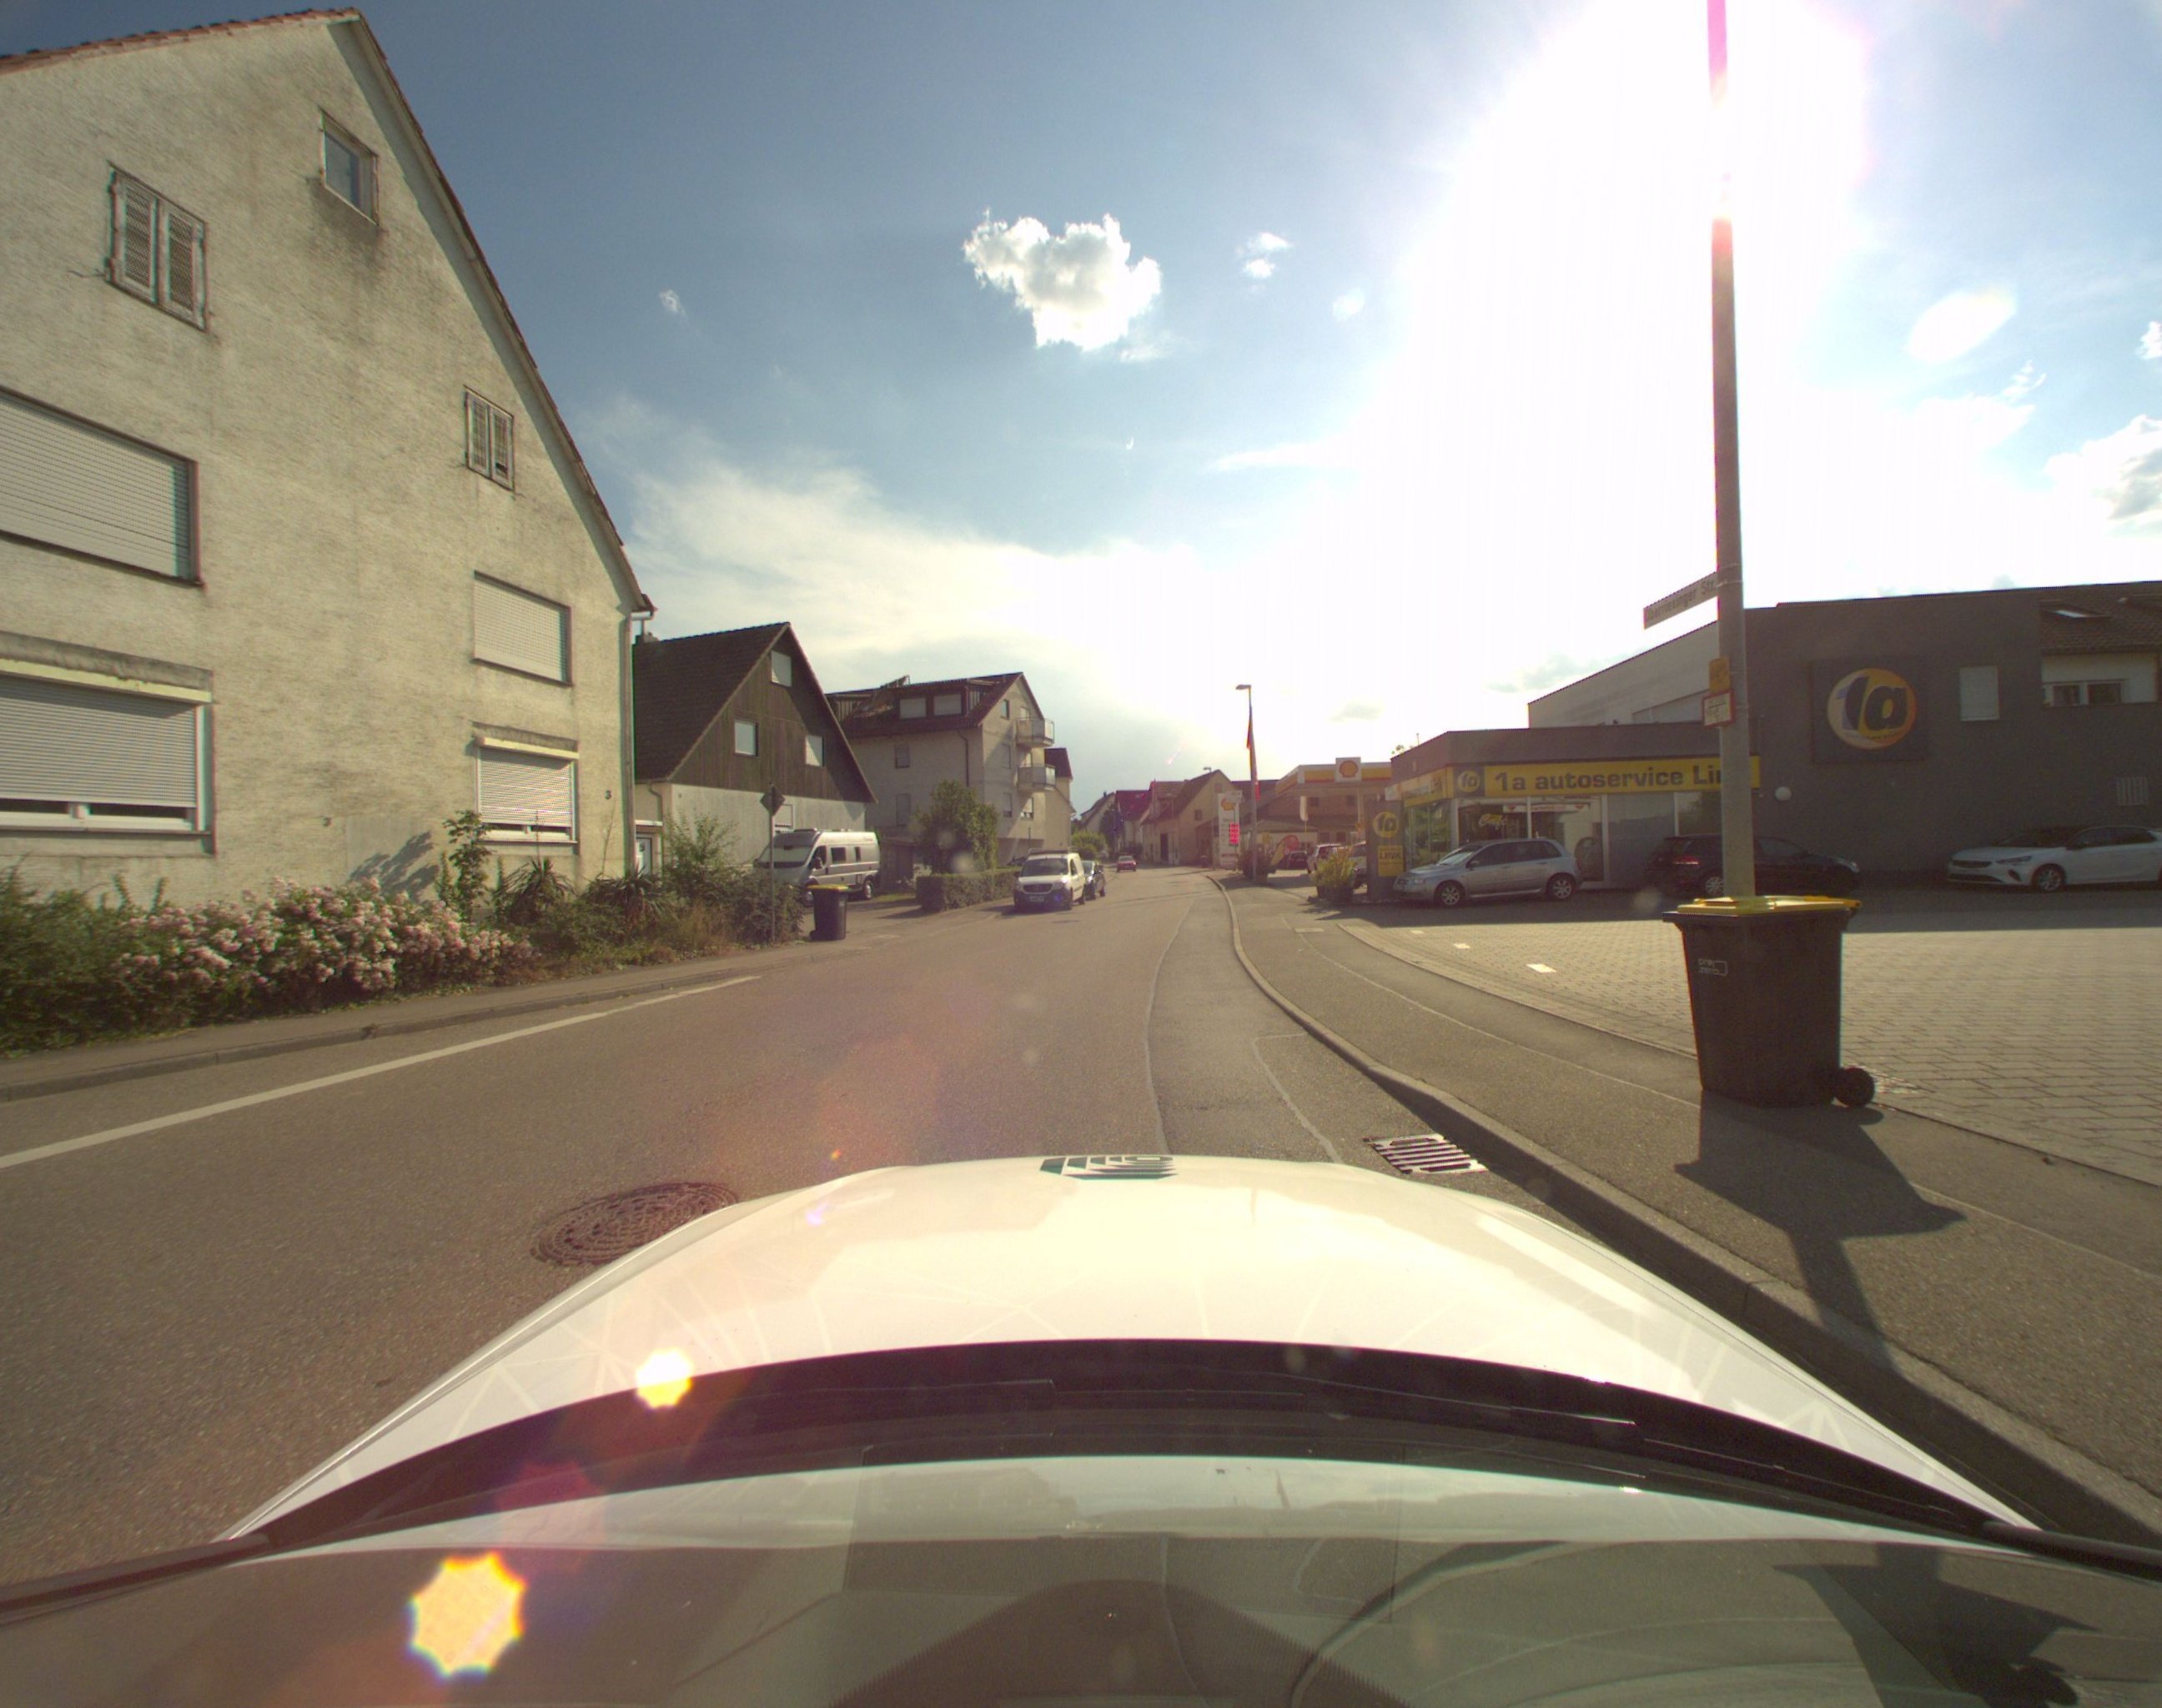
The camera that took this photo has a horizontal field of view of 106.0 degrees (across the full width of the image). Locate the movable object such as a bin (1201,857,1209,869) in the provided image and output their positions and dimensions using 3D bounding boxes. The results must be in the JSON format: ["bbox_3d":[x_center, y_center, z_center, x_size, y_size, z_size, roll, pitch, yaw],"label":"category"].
[{"bbox_3d":[11.479,0.816,75.591,0.650,1.073,0.513,-2,0,4],"label":"movable object such as a bin"}]

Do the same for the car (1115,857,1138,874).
[{"bbox_3d":[4.246,1.045,76.291,1.704,1.435,3.777,-3,-1,-2],"label":"car"}]

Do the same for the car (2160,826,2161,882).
[{"bbox_3d":[26.244,-0.035,17.632,3.738,1.262,1.400,-2,1,4],"label":"car"}]

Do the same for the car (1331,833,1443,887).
[{"bbox_3d":[10.961,0.188,29.102,4.095,1.674,1.659,-3,-1,-35],"label":"car"}]

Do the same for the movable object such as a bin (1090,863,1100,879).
[{"bbox_3d":[1.043,1.254,59.469,0.585,1.084,0.509,-3,-1,6],"label":"movable object such as a bin"}]

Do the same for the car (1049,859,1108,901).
[{"bbox_3d":[-0.028,0.985,31.788,1.663,1.451,3.844,-3,0,9],"label":"car"}]

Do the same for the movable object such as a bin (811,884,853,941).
[{"bbox_3d":[-4.946,1.146,16.177,0.607,1.101,0.577,-1,-2,8],"label":"movable object such as a bin"}]

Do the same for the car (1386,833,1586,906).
[{"bbox_3d":[9.547,0.369,19.415,3.972,1.531,1.528,-2,-1,1],"label":"car"}]

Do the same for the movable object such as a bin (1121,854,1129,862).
[{"bbox_3d":[6.780,0.569,125.332,1.159,1.168,0.654,-2,0,-5],"label":"movable object such as a bin"}]

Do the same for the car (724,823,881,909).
[{"bbox_3d":[-9.216,0.358,27.714,2.144,2.596,6.115,-1,0,12],"label":"car"}]

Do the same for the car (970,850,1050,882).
[{"bbox_3d":[-3.902,0.620,44.750,3.955,1.538,1.771,3,1,19],"label":"car"}]

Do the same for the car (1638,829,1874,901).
[{"bbox_3d":[15.280,0.225,18.607,3.887,1.467,1.719,-2,1,4],"label":"car"}]

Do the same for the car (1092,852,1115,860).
[{"bbox_3d":[3.975,0.386,146.385,3.976,1.352,1.709,-2,0,-2],"label":"car"}]

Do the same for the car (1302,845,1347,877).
[{"bbox_3d":[13.055,0.332,43.808,1.663,1.577,4.007,-2,0,7],"label":"car"}]

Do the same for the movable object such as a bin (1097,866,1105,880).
[{"bbox_3d":[1.512,1.420,61.115,0.528,1.022,0.458,-3,-1,6],"label":"movable object such as a bin"}]

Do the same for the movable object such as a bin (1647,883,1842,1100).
[{"bbox_3d":[3.625,0.721,4.492,0.564,1.075,0.573,-3,-1,3],"label":"movable object such as a bin"}]

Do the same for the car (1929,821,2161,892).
[{"bbox_3d":[21.980,0.031,18.329,3.887,1.408,1.719,-2,1,4],"label":"car"}]

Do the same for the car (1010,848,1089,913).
[{"bbox_3d":[-0.925,0.804,26.482,1.706,1.872,4.202,-3,-1,9],"label":"car"}]

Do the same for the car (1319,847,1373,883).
[{"bbox_3d":[12.397,0.479,38.306,1.663,1.577,4.007,-2,0,7],"label":"car"}]

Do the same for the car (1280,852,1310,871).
[{"bbox_3d":[16.708,0.551,63.693,1.570,1.427,4.388,-1,0,6],"label":"car"}]
